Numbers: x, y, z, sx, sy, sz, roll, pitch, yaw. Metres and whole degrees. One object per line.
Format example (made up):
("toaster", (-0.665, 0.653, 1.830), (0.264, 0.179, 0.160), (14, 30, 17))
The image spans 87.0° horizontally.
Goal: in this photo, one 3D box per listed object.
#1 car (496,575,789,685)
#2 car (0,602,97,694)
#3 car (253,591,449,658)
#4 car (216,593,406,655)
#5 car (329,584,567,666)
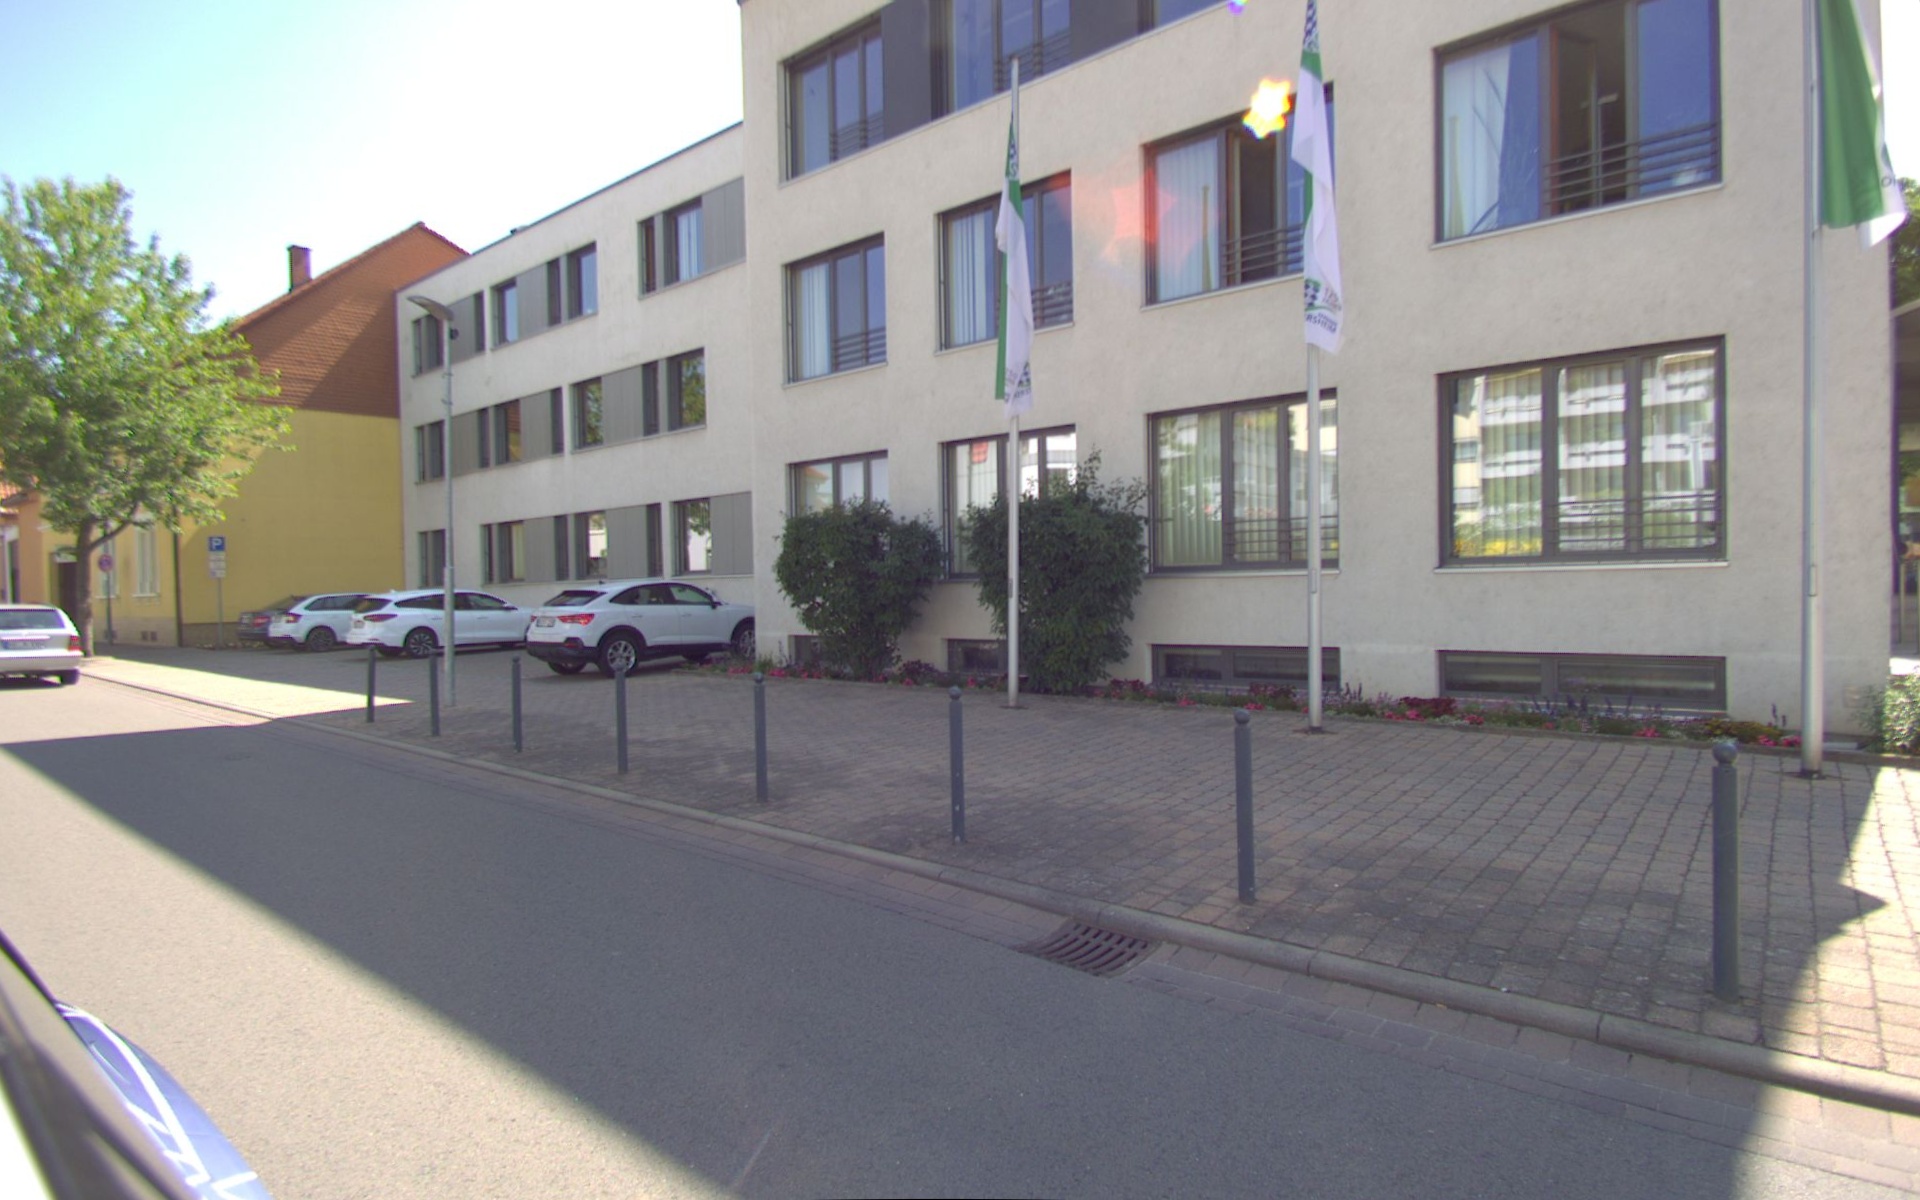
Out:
("car", (-5.427, 0.419, 17.792), (2.145, 1.565, 4.463), (0, 2, 38))
("car", (-17.286, 0.786, 18.284), (4.432, 1.475, 1.862), (0, 0, 40))
("car", (-15.720, 0.580, 26.275), (1.806, 1.462, 3.947), (-1, 1, 40))
("car", (-17.812, 0.624, 27.930), (1.968, 1.442, 3.952), (-1, 2, 36))
("car", (-11.648, 0.483, 23.280), (1.933, 1.565, 4.459), (1, 3, 40))
